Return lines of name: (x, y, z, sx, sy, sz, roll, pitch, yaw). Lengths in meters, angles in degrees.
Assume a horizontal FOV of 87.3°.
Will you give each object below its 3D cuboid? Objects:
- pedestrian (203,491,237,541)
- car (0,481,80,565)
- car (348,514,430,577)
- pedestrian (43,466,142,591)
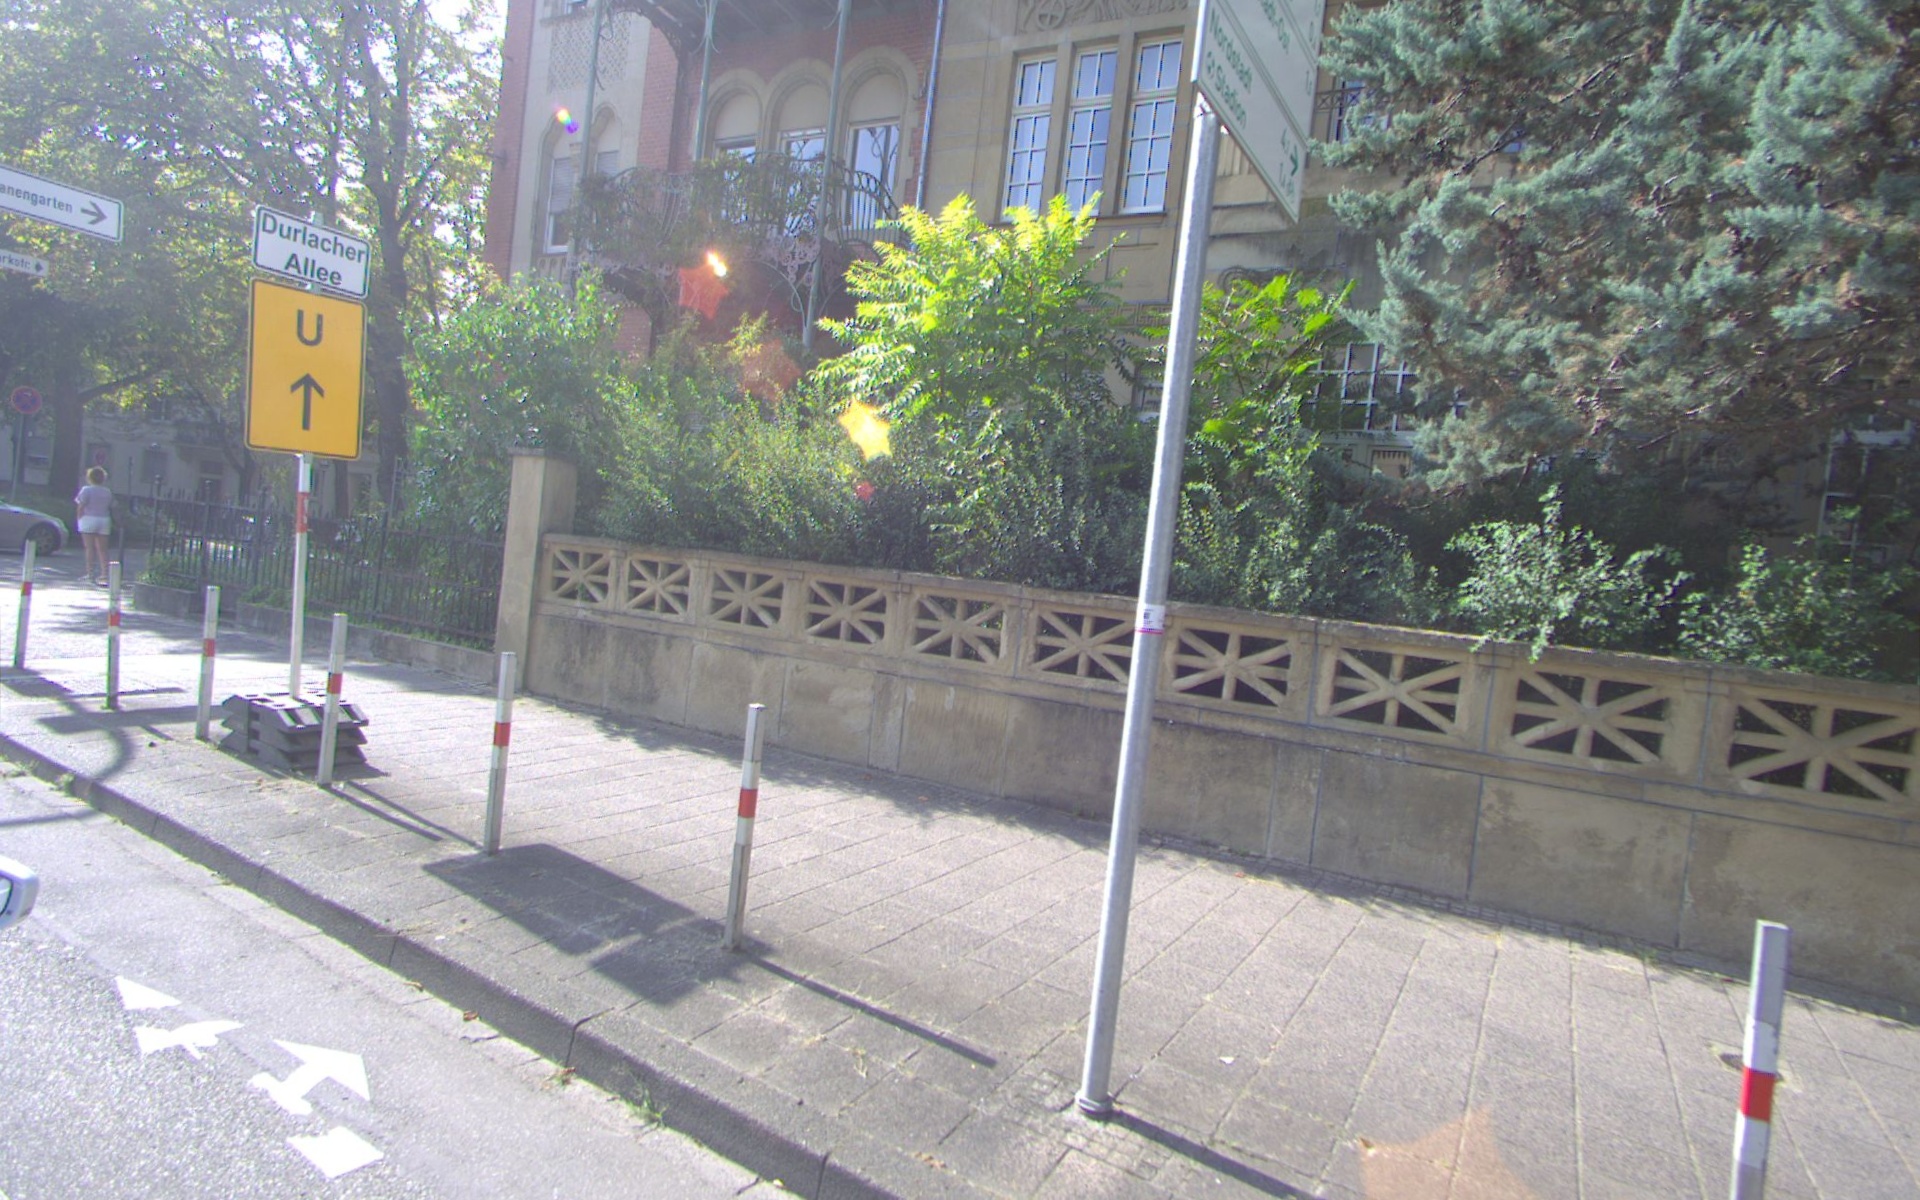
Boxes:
pedestrian: (-28.441, -3.227, 38.660, 0.888, 1.763, 0.767, 5, 2, -43)
car: (-18.749, -1.546, 17.794, 1.834, 1.485, 4.786, 5, 0, 5)
car: (-18.086, -1.761, 31.757, 1.979, 1.651, 4.294, 6, 1, -32)
pedestrian: (-13.140, -1.070, 15.245, 0.757, 1.753, 0.752, 7, 2, 19)
